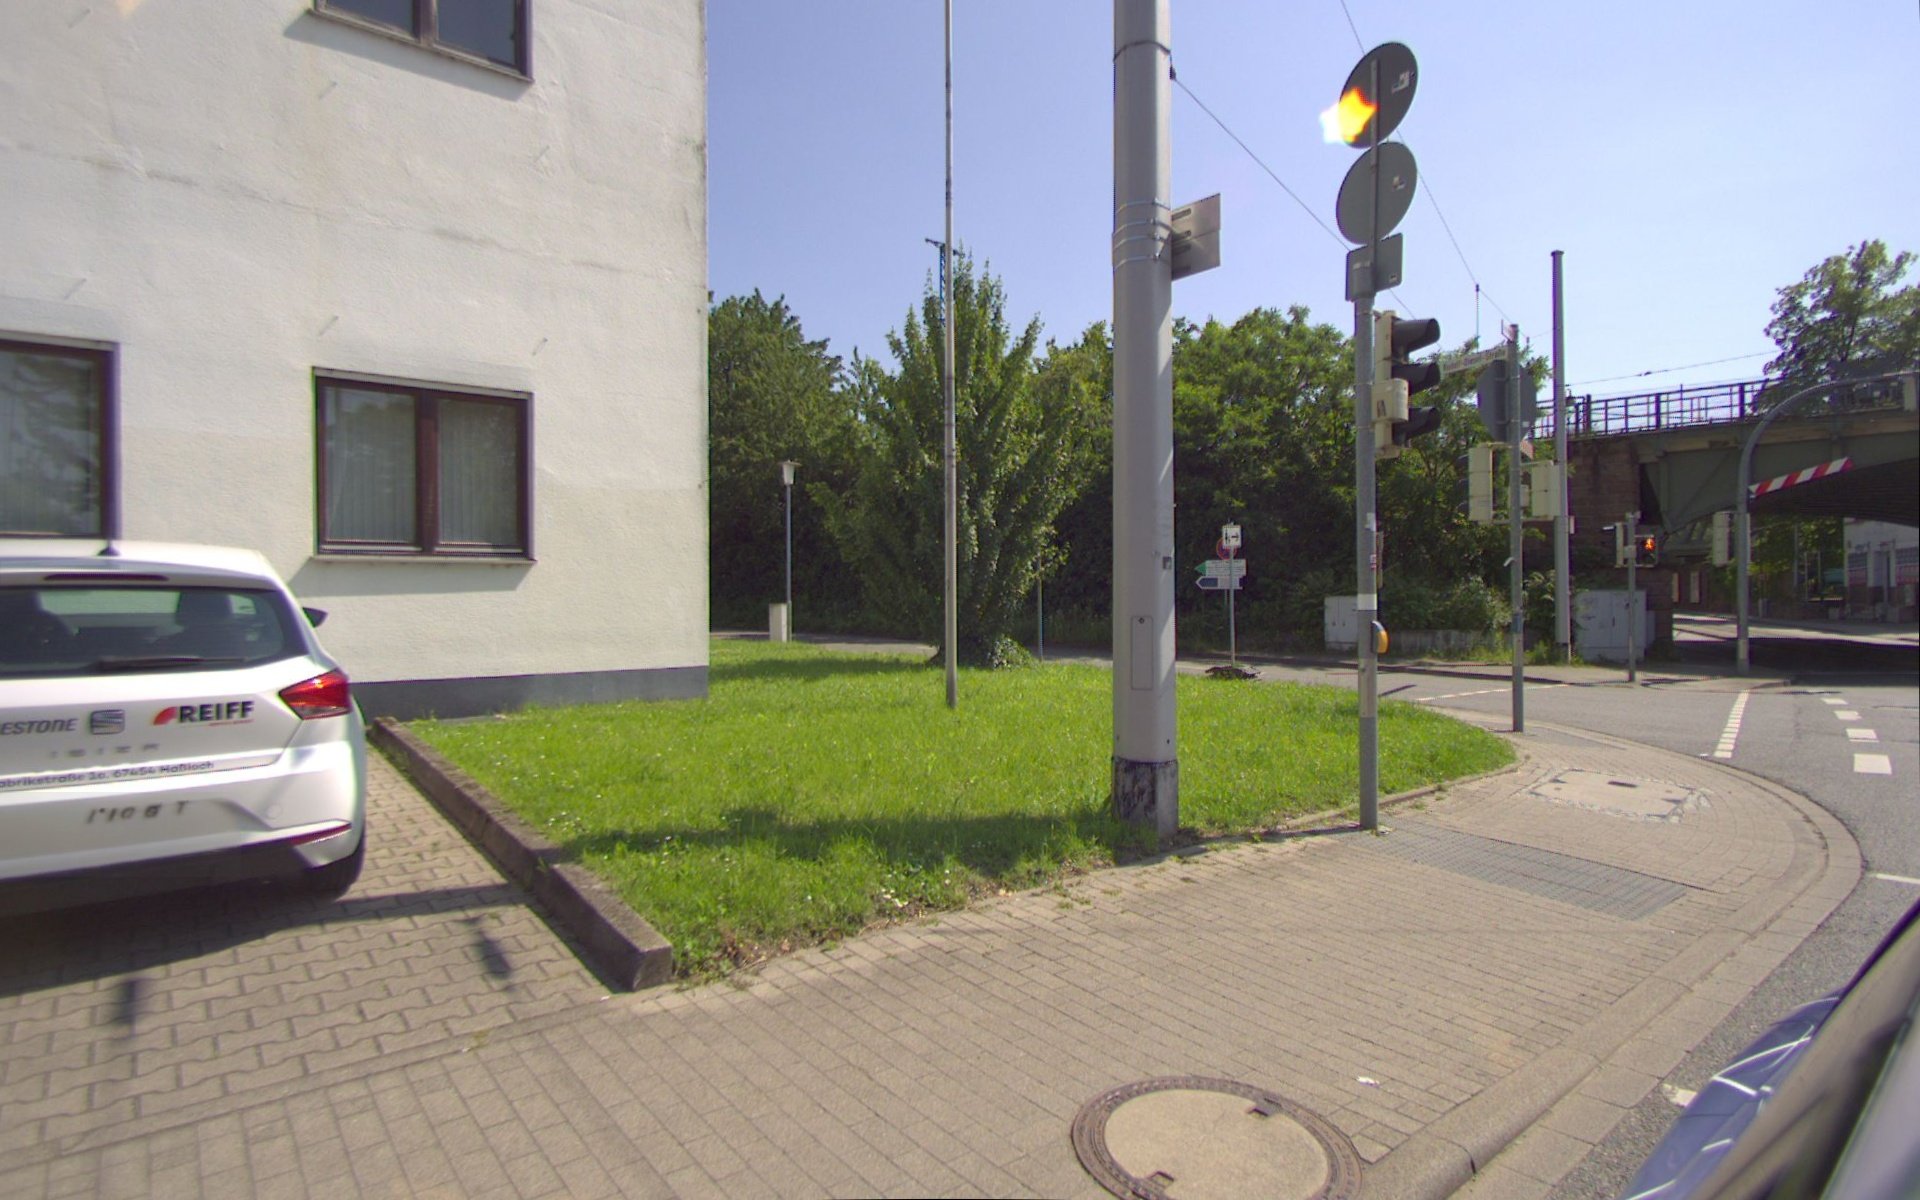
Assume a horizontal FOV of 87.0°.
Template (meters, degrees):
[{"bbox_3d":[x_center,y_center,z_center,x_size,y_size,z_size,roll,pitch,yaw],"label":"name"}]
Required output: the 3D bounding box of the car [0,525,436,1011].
[{"bbox_3d":[-4.048,0.418,4.852,1.857,1.480,3.996,0,4,-41],"label":"car"}]
